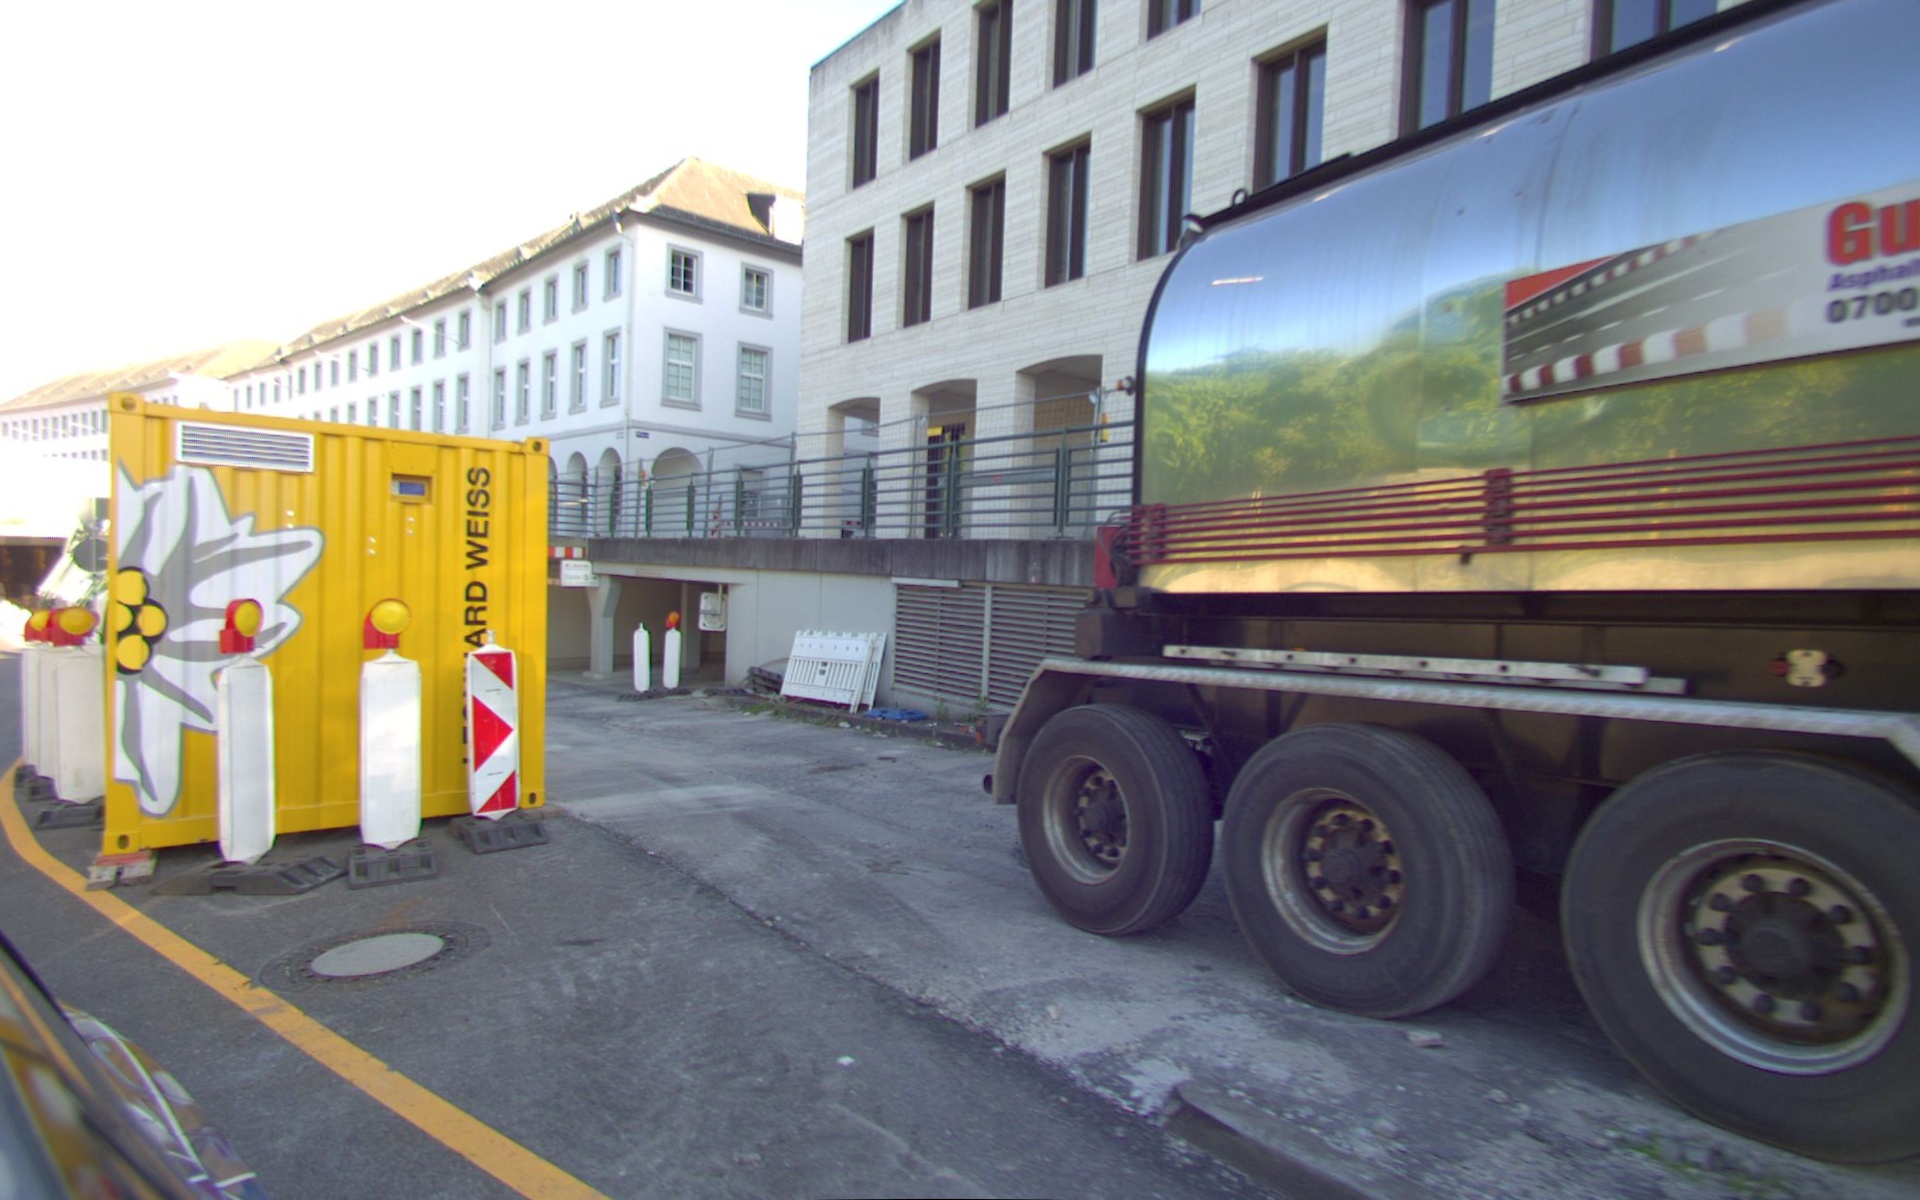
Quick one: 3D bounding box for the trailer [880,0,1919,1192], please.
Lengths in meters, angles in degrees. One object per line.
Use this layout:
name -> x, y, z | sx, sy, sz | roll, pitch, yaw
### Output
trailer -> 3.244, -0.413, 3.213 | 2.607, 3.697, 8.769 | 5, -4, -36
